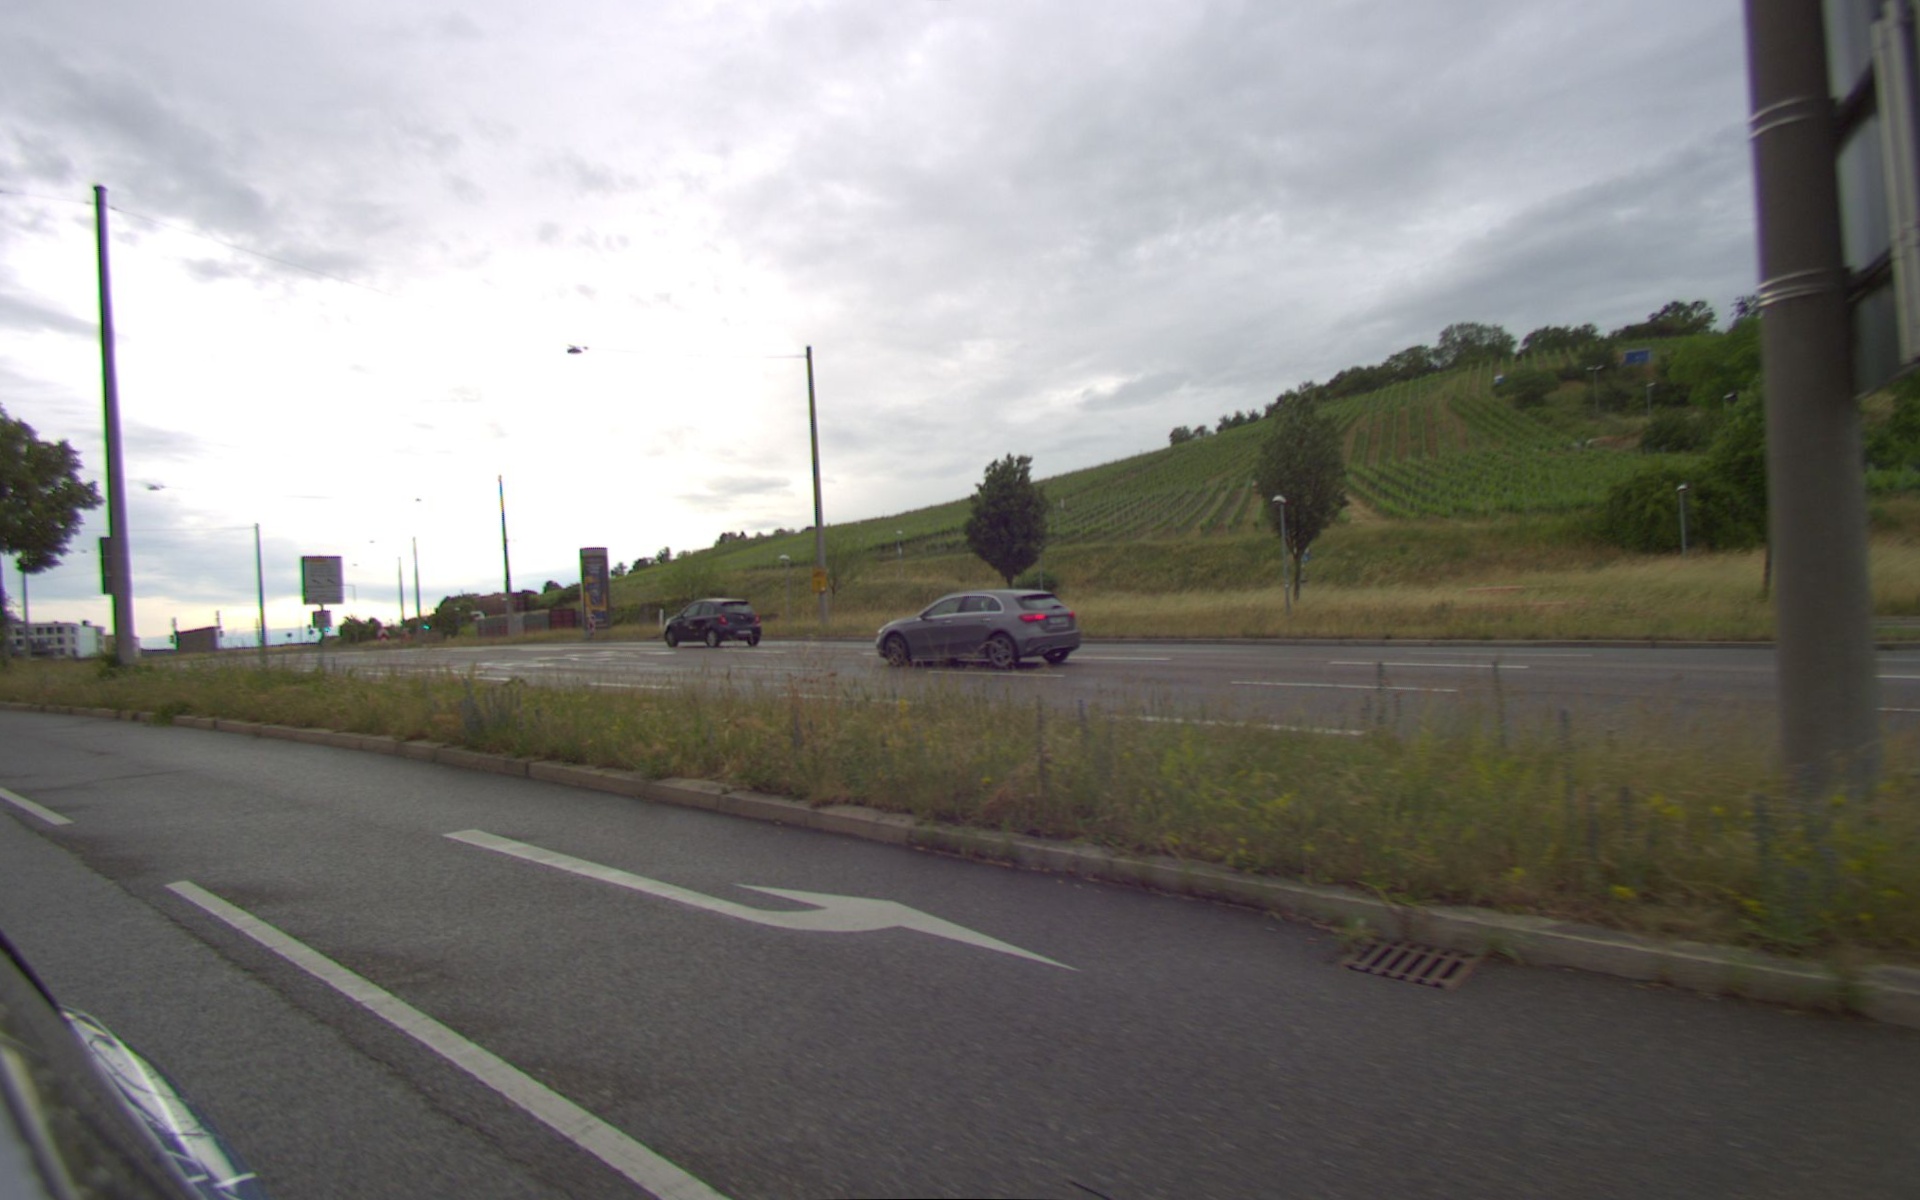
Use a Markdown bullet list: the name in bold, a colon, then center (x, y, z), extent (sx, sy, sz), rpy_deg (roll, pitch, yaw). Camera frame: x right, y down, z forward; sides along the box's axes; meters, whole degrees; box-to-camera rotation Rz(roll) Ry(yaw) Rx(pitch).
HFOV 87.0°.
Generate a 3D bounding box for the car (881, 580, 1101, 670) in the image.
- **car**: center (0.517, 0.446, 19.355), extent (4.000, 1.529, 1.748), rpy_deg (-1, 1, 43)

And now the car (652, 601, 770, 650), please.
- **car**: center (-8.037, 0.758, 32.485), extent (4.000, 1.394, 1.748), rpy_deg (0, 2, 43)
